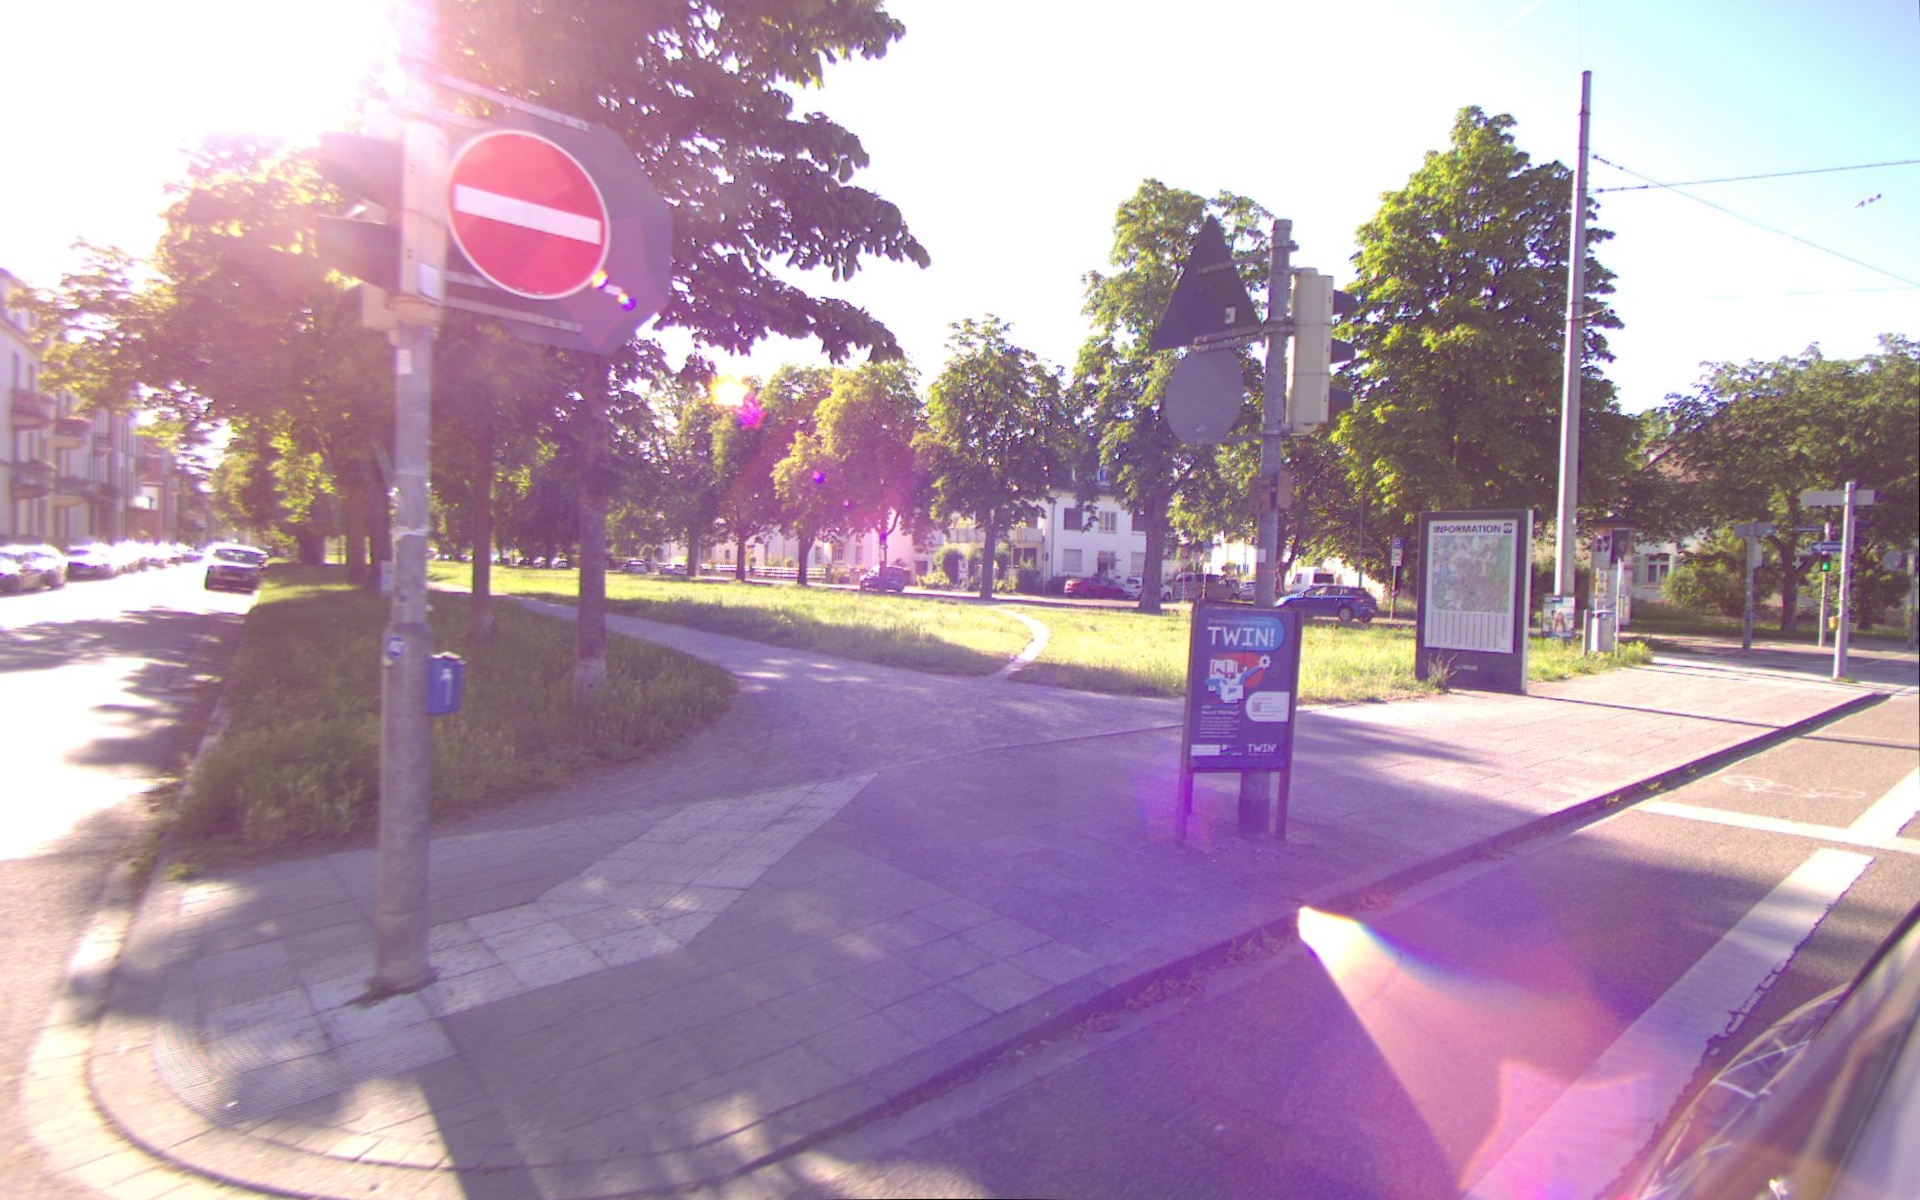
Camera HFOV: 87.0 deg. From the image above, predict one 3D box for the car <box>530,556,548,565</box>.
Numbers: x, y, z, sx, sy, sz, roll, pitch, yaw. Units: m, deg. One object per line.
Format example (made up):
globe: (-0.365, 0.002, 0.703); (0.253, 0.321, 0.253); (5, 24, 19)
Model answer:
car: (-65.928, -6.188, 158.493); (1.791, 1.451, 4.002); (1, 2, -35)

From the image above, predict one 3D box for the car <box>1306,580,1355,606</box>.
car: (24.525, -0.442, 66.961); (1.601, 1.554, 4.218); (3, 1, 41)

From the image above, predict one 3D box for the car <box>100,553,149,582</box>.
car: (-49.319, -1.877, 59.821); (1.700, 1.624, 3.708); (1, 0, -32)

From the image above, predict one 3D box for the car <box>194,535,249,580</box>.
car: (-33.591, -1.886, 46.108); (1.891, 1.905, 4.066); (1, 0, -35)

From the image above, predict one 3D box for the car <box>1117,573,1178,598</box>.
car: (12.355, -0.935, 66.601); (3.822, 1.489, 1.760); (1, 2, -36)

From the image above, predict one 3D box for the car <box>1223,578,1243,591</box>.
car: (32.233, -1.850, 119.545); (1.730, 1.489, 3.888); (2, 2, 8)

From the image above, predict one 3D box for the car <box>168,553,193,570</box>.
car: (-76.767, -3.771, 99.653); (1.701, 1.624, 3.706); (1, 0, -34)

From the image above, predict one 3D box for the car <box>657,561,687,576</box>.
car: (-30.318, -3.316, 106.531); (1.791, 1.451, 4.002); (1, 2, -35)

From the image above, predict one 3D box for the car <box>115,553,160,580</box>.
car: (-52.125, -2.100, 64.183); (1.700, 1.624, 3.708); (1, 0, -32)

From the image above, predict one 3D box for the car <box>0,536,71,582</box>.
car: (-33.701, -1.447, 36.765); (1.702, 1.532, 3.705); (1, 0, -35)

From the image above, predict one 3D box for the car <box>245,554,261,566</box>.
car: (-88.951, -5.036, 127.334); (1.619, 1.538, 3.405); (1, 1, -35)

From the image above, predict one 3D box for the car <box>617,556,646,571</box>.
car: (-34.365, -3.814, 105.847); (1.791, 1.451, 4.002); (1, 2, -35)

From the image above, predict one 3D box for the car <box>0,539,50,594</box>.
car: (-30.376, -1.061, 31.951); (1.792, 1.626, 3.854); (3, -1, -33)

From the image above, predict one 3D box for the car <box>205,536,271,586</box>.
car: (-29.657, -1.537, 41.673); (1.890, 1.905, 3.708); (1, 0, -31)

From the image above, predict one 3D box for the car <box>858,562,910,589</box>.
car: (-5.264, -1.677, 70.048); (1.782, 1.848, 4.000); (-1, 1, -35)

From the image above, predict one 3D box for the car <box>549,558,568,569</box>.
car: (-59.058, -5.339, 148.790); (1.791, 1.451, 4.002); (1, 2, -35)

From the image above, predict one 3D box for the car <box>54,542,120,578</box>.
car: (-40.715, -1.839, 47.277); (1.700, 1.506, 3.708); (1, 0, -32)

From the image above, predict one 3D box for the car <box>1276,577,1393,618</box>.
car: (14.843, -0.126, 40.222); (1.784, 1.451, 3.997); (0, 3, -39)

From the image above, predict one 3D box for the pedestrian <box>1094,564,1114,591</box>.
pedestrian: (9.855, -1.546, 69.347); (0.882, 1.791, 1.025); (1, -1, -34)

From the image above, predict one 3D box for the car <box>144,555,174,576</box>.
car: (-67.442, -2.903, 85.229); (1.701, 1.624, 3.707); (1, 1, -34)

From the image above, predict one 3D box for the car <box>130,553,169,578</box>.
car: (-58.383, -2.459, 72.918); (1.700, 1.624, 3.708); (1, 0, -32)

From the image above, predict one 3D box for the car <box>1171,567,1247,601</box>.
car: (14.795, -0.959, 60.094); (4.257, 1.858, 1.925); (1, 2, -33)

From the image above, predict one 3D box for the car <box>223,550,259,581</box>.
car: (-50.627, -2.405, 71.324); (1.891, 2.057, 4.663); (1, 0, -34)

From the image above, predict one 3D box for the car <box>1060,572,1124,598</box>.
car: (8.291, -0.956, 63.450); (3.822, 1.489, 1.760); (1, 2, -36)

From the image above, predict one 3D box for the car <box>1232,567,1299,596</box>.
car: (19.066, -1.142, 63.146); (3.637, 1.668, 1.926); (1, 2, -28)

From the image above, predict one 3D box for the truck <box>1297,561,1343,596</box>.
truck: (28.079, -1.695, 79.170); (1.964, 2.607, 4.978); (2, 2, 3)

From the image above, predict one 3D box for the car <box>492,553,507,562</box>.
car: (-84.473, -7.810, 185.701); (1.791, 1.451, 4.002); (1, 2, -35)

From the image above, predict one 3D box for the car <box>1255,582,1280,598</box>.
car: (30.758, -1.053, 101.228); (1.730, 1.489, 3.888); (2, 2, 8)
